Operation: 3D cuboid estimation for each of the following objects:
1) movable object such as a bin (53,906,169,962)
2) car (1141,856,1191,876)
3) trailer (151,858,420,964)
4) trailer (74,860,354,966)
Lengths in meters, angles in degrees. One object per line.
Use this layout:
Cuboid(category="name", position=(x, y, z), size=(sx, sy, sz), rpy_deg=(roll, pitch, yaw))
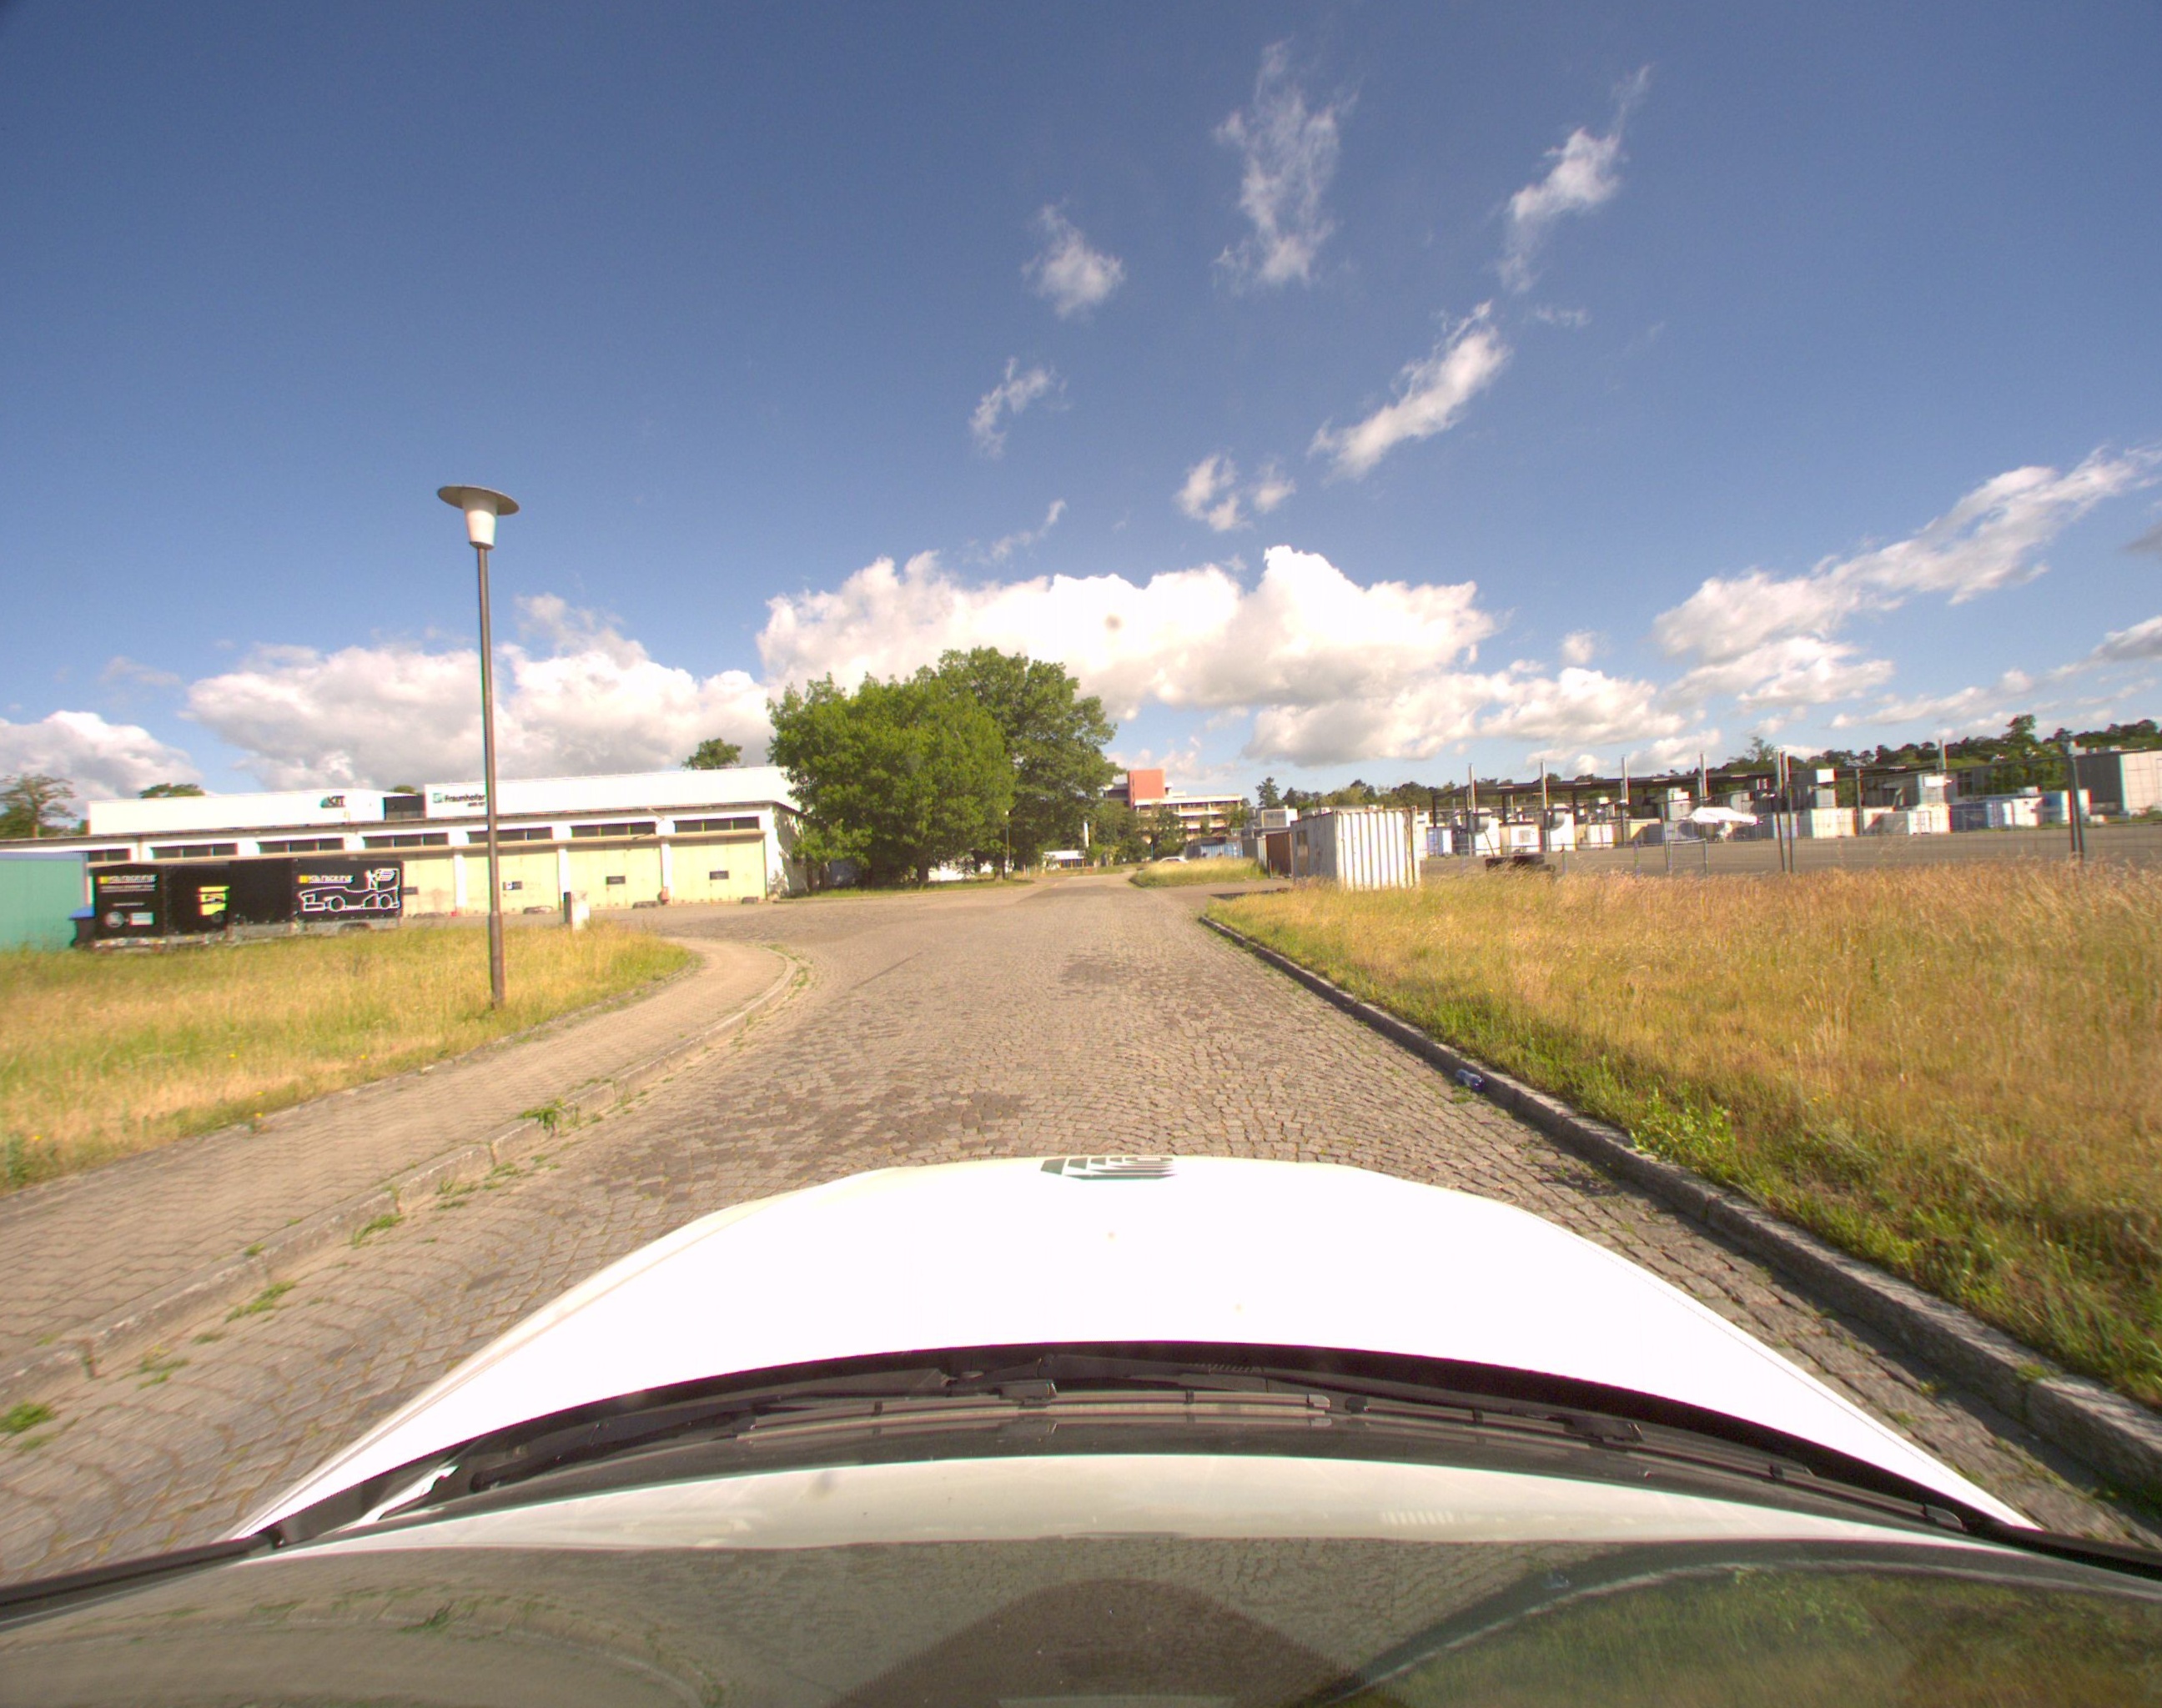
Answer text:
Cuboid(category="movable object such as a bin", position=(-27.311, 2.228, 22.986), size=(1.531, 1.386, 1.381), rpy_deg=(-3, -1, -11))
Cuboid(category="car", position=(8.115, 1.139, 77.865), size=(4.491, 1.647, 1.999), rpy_deg=(-3, -1, -1))
Cuboid(category="trailer", position=(-20.112, 1.331, 20.977), size=(2.122, 2.298, 4.673), rpy_deg=(-3, -1, 2))
Cuboid(category="trailer", position=(-22.413, 1.409, 21.454), size=(2.084, 2.355, 4.971), rpy_deg=(-3, -1, -2))
